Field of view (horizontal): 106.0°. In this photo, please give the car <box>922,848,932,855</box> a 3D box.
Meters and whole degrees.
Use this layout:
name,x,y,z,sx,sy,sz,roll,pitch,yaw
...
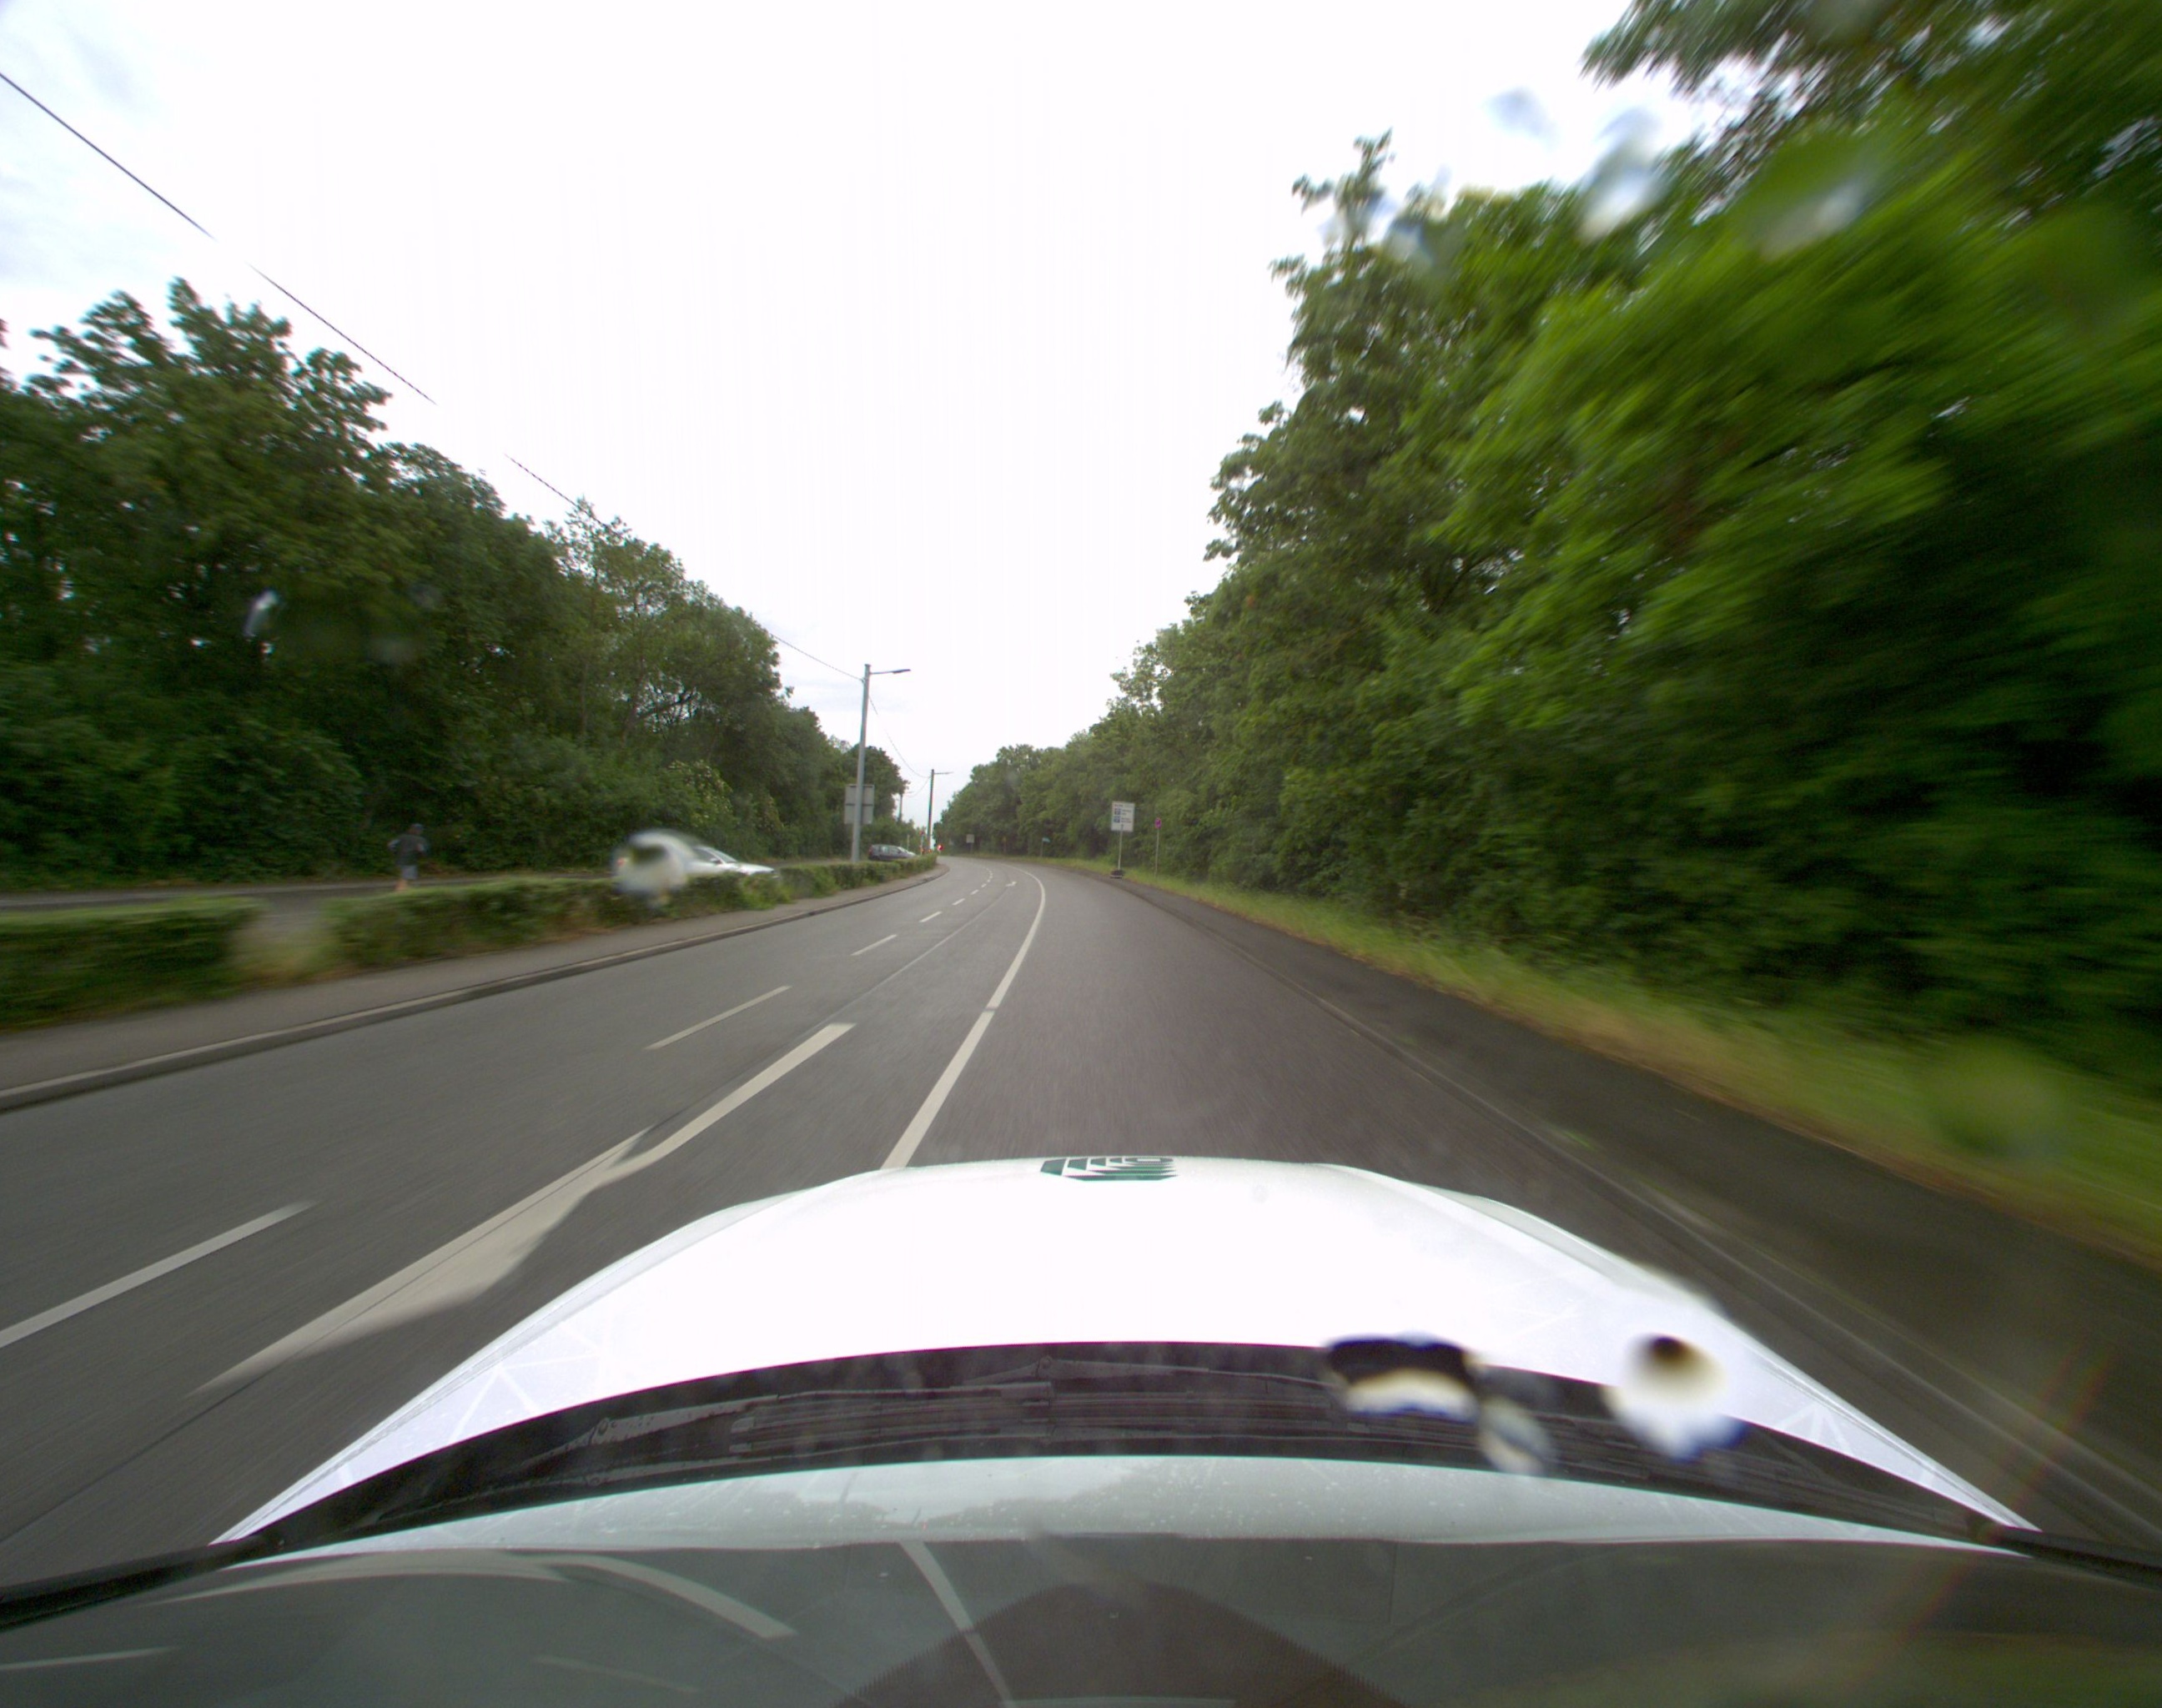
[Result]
name,x,y,z,sx,sy,sz,roll,pitch,yaw
car,-33.447,-0.519,176.707,1.936,1.498,4.301,1,0,-11

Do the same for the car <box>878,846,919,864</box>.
name,x,y,z,sx,sy,sz,roll,pitch,yaw
car,-17.087,0.052,76.467,3.647,1.591,1.844,1,0,-12

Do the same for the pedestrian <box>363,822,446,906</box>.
name,x,y,z,sx,sy,sz,roll,pitch,yaw
pedestrian,-14.914,0.216,17.983,0.813,1.797,1.137,1,0,4

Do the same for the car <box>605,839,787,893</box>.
name,x,y,z,sx,sy,sz,roll,pitch,yaw
car,-11.591,0.361,24.851,4.573,1.506,1.994,1,0,-9

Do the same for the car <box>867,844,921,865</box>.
name,x,y,z,sx,sy,sz,roll,pitch,yaw
car,-16.239,0.026,70.891,4.284,1.708,1.996,1,0,-6
